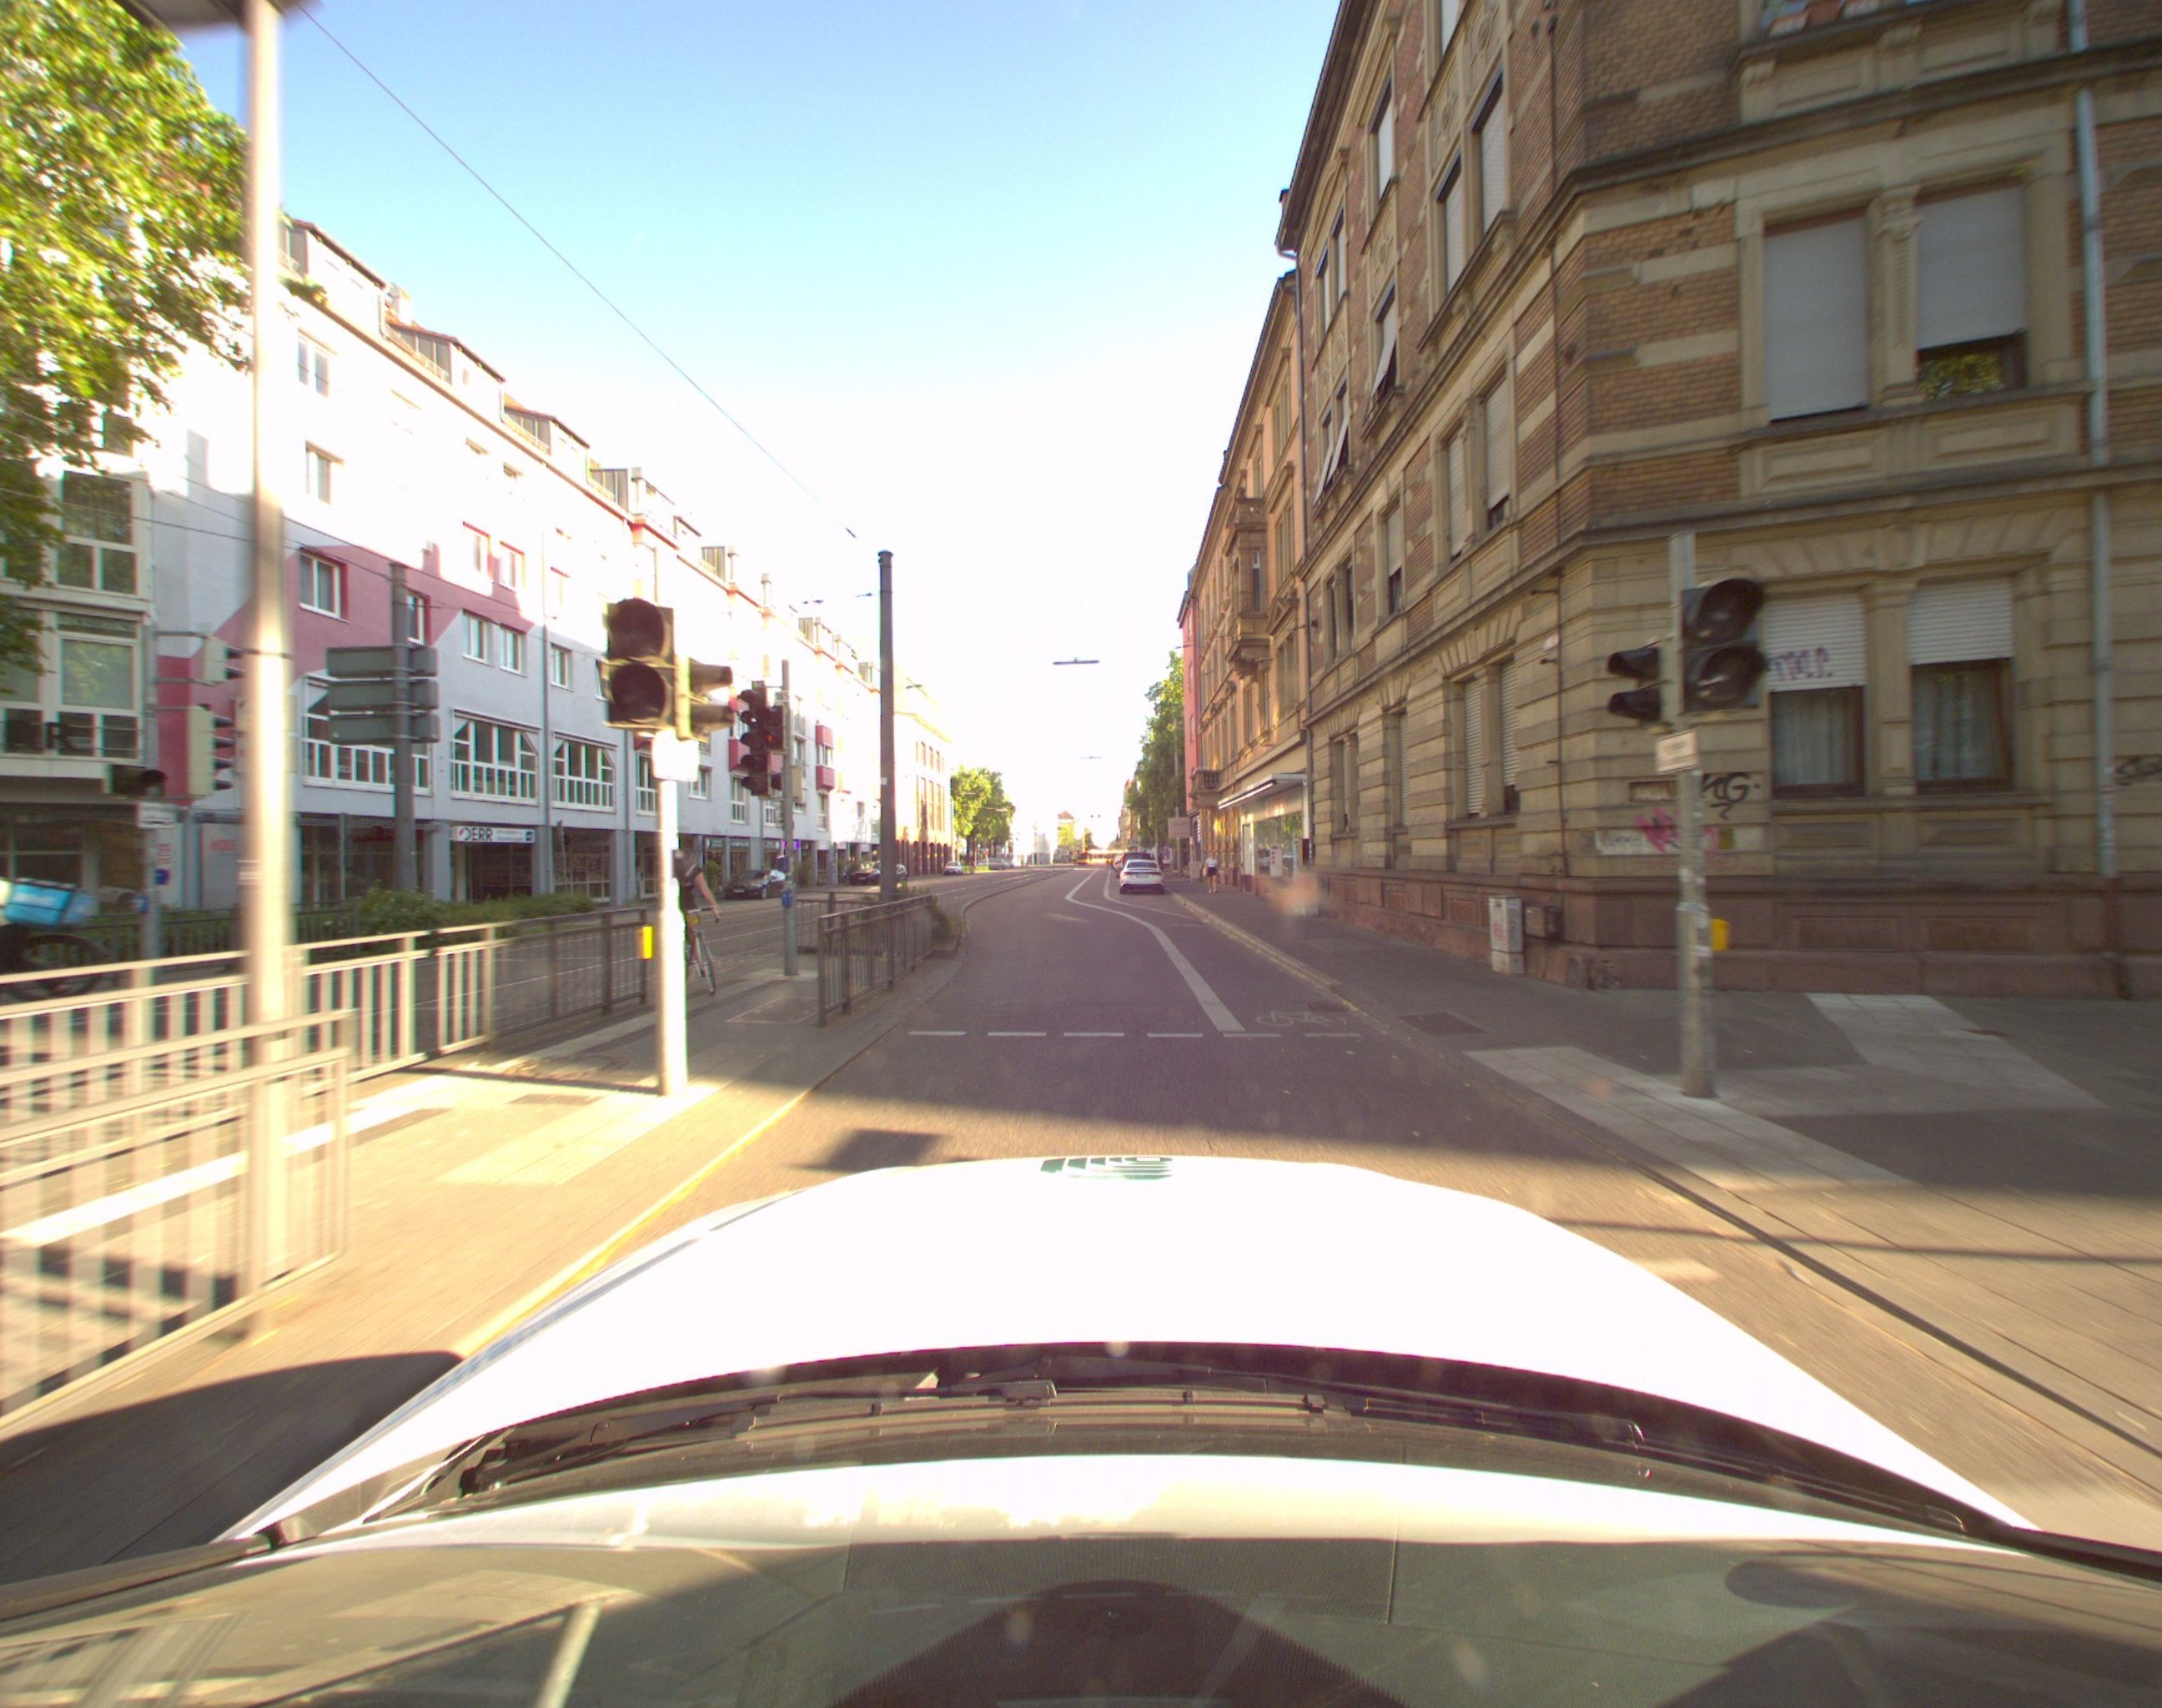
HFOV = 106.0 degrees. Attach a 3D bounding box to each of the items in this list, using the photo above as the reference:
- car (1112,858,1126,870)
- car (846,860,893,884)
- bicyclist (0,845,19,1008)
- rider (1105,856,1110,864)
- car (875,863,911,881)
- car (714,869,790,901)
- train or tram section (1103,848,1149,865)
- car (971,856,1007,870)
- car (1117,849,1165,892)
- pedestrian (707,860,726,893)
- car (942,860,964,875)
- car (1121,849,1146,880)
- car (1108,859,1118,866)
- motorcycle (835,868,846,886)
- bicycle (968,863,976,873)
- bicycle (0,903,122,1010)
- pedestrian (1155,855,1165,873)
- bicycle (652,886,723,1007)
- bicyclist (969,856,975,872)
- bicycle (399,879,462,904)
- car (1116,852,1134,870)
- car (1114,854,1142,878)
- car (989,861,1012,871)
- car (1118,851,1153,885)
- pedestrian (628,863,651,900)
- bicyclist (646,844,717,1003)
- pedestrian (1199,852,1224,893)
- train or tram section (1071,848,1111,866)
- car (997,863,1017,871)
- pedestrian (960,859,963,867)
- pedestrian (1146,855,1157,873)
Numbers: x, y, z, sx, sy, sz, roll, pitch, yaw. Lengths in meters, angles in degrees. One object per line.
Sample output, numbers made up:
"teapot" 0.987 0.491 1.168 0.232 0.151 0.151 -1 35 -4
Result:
"car" 5.210 1.334 112.257 1.716 1.568 4.084 -2 0 1
"car" -15.488 1.322 59.818 2.083 1.713 4.819 0 -1 1
"bicyclist" -11.777 0.764 8.507 0.750 1.712 0.527 -1 -1 -44
"rider" 5.241 1.211 161.879 0.880 1.481 0.713 1 -1 2
"car" -15.523 1.471 67.437 1.861 1.450 3.588 0 -1 5
"car" -16.189 1.498 40.301 1.864 1.439 4.705 0 0 -1
"train or tram section" 11.537 0.683 207.449 12.901 3.878 2.671 2 -1 -37
"car" -14.970 1.472 132.011 5.285 2.043 2.395 2 -2 -30
"car" 2.571 0.694 35.795 1.958 1.771 4.878 0 -1 3
"pedestrian" -19.186 1.156 42.882 0.612 1.712 0.745 -1 0 0
"car" -14.771 1.516 93.964 1.864 1.600 4.252 0 0 -1
"car" 3.798 0.752 58.460 1.697 2.120 3.711 0 -1 5
"car" 6.806 1.869 171.830 2.058 1.389 4.226 1 0 2
"motorcycle" -17.158 1.635 58.098 0.671 1.205 2.130 1 -1 -15
"bicycle" -12.249 1.559 91.453 0.581 1.077 2.184 -3 -1 -2
"bicycle" -11.682 1.091 8.607 1.909 1.077 0.577 2 -1 -41
"pedestrian" 7.100 0.899 73.148 0.772 1.567 0.914 -4 -1 3
"bicycle" -4.216 0.924 8.755 0.585 1.077 1.883 2 -1 -25
"bicyclist" -12.277 1.109 91.710 0.570 1.712 0.745 -3 -1 -3
"bicycle" -19.002 1.080 23.830 0.455 0.658 1.808 2 0 -3
"car" 5.031 0.811 93.487 1.963 2.014 4.561 -2 -1 3
"car" 3.653 0.960 63.846 1.943 1.788 5.181 1 -1 1
"car" -14.993 2.220 151.291 3.892 1.627 1.858 1 -1 -29
"car" 3.180 0.787 47.740 1.947 1.869 4.993 0 0 3
"pedestrian" -20.816 1.288 38.394 0.741 1.712 0.615 -1 0 -2
"bicyclist" -4.194 0.696 8.588 0.533 1.578 0.741 -1 0 -17
"pedestrian" 5.176 0.714 32.350 0.772 1.567 0.915 -4 -1 5
"train or tram section" 2.533 0.786 199.037 2.666 3.960 12.163 1 -1 41
"car" -14.681 2.644 161.775 3.541 1.481 1.567 1 -1 -30
"pedestrian" -18.848 1.421 128.578 0.363 1.343 0.480 2 -1 -18
"pedestrian" 6.326 0.879 73.176 0.772 1.567 0.914 -4 -1 3
